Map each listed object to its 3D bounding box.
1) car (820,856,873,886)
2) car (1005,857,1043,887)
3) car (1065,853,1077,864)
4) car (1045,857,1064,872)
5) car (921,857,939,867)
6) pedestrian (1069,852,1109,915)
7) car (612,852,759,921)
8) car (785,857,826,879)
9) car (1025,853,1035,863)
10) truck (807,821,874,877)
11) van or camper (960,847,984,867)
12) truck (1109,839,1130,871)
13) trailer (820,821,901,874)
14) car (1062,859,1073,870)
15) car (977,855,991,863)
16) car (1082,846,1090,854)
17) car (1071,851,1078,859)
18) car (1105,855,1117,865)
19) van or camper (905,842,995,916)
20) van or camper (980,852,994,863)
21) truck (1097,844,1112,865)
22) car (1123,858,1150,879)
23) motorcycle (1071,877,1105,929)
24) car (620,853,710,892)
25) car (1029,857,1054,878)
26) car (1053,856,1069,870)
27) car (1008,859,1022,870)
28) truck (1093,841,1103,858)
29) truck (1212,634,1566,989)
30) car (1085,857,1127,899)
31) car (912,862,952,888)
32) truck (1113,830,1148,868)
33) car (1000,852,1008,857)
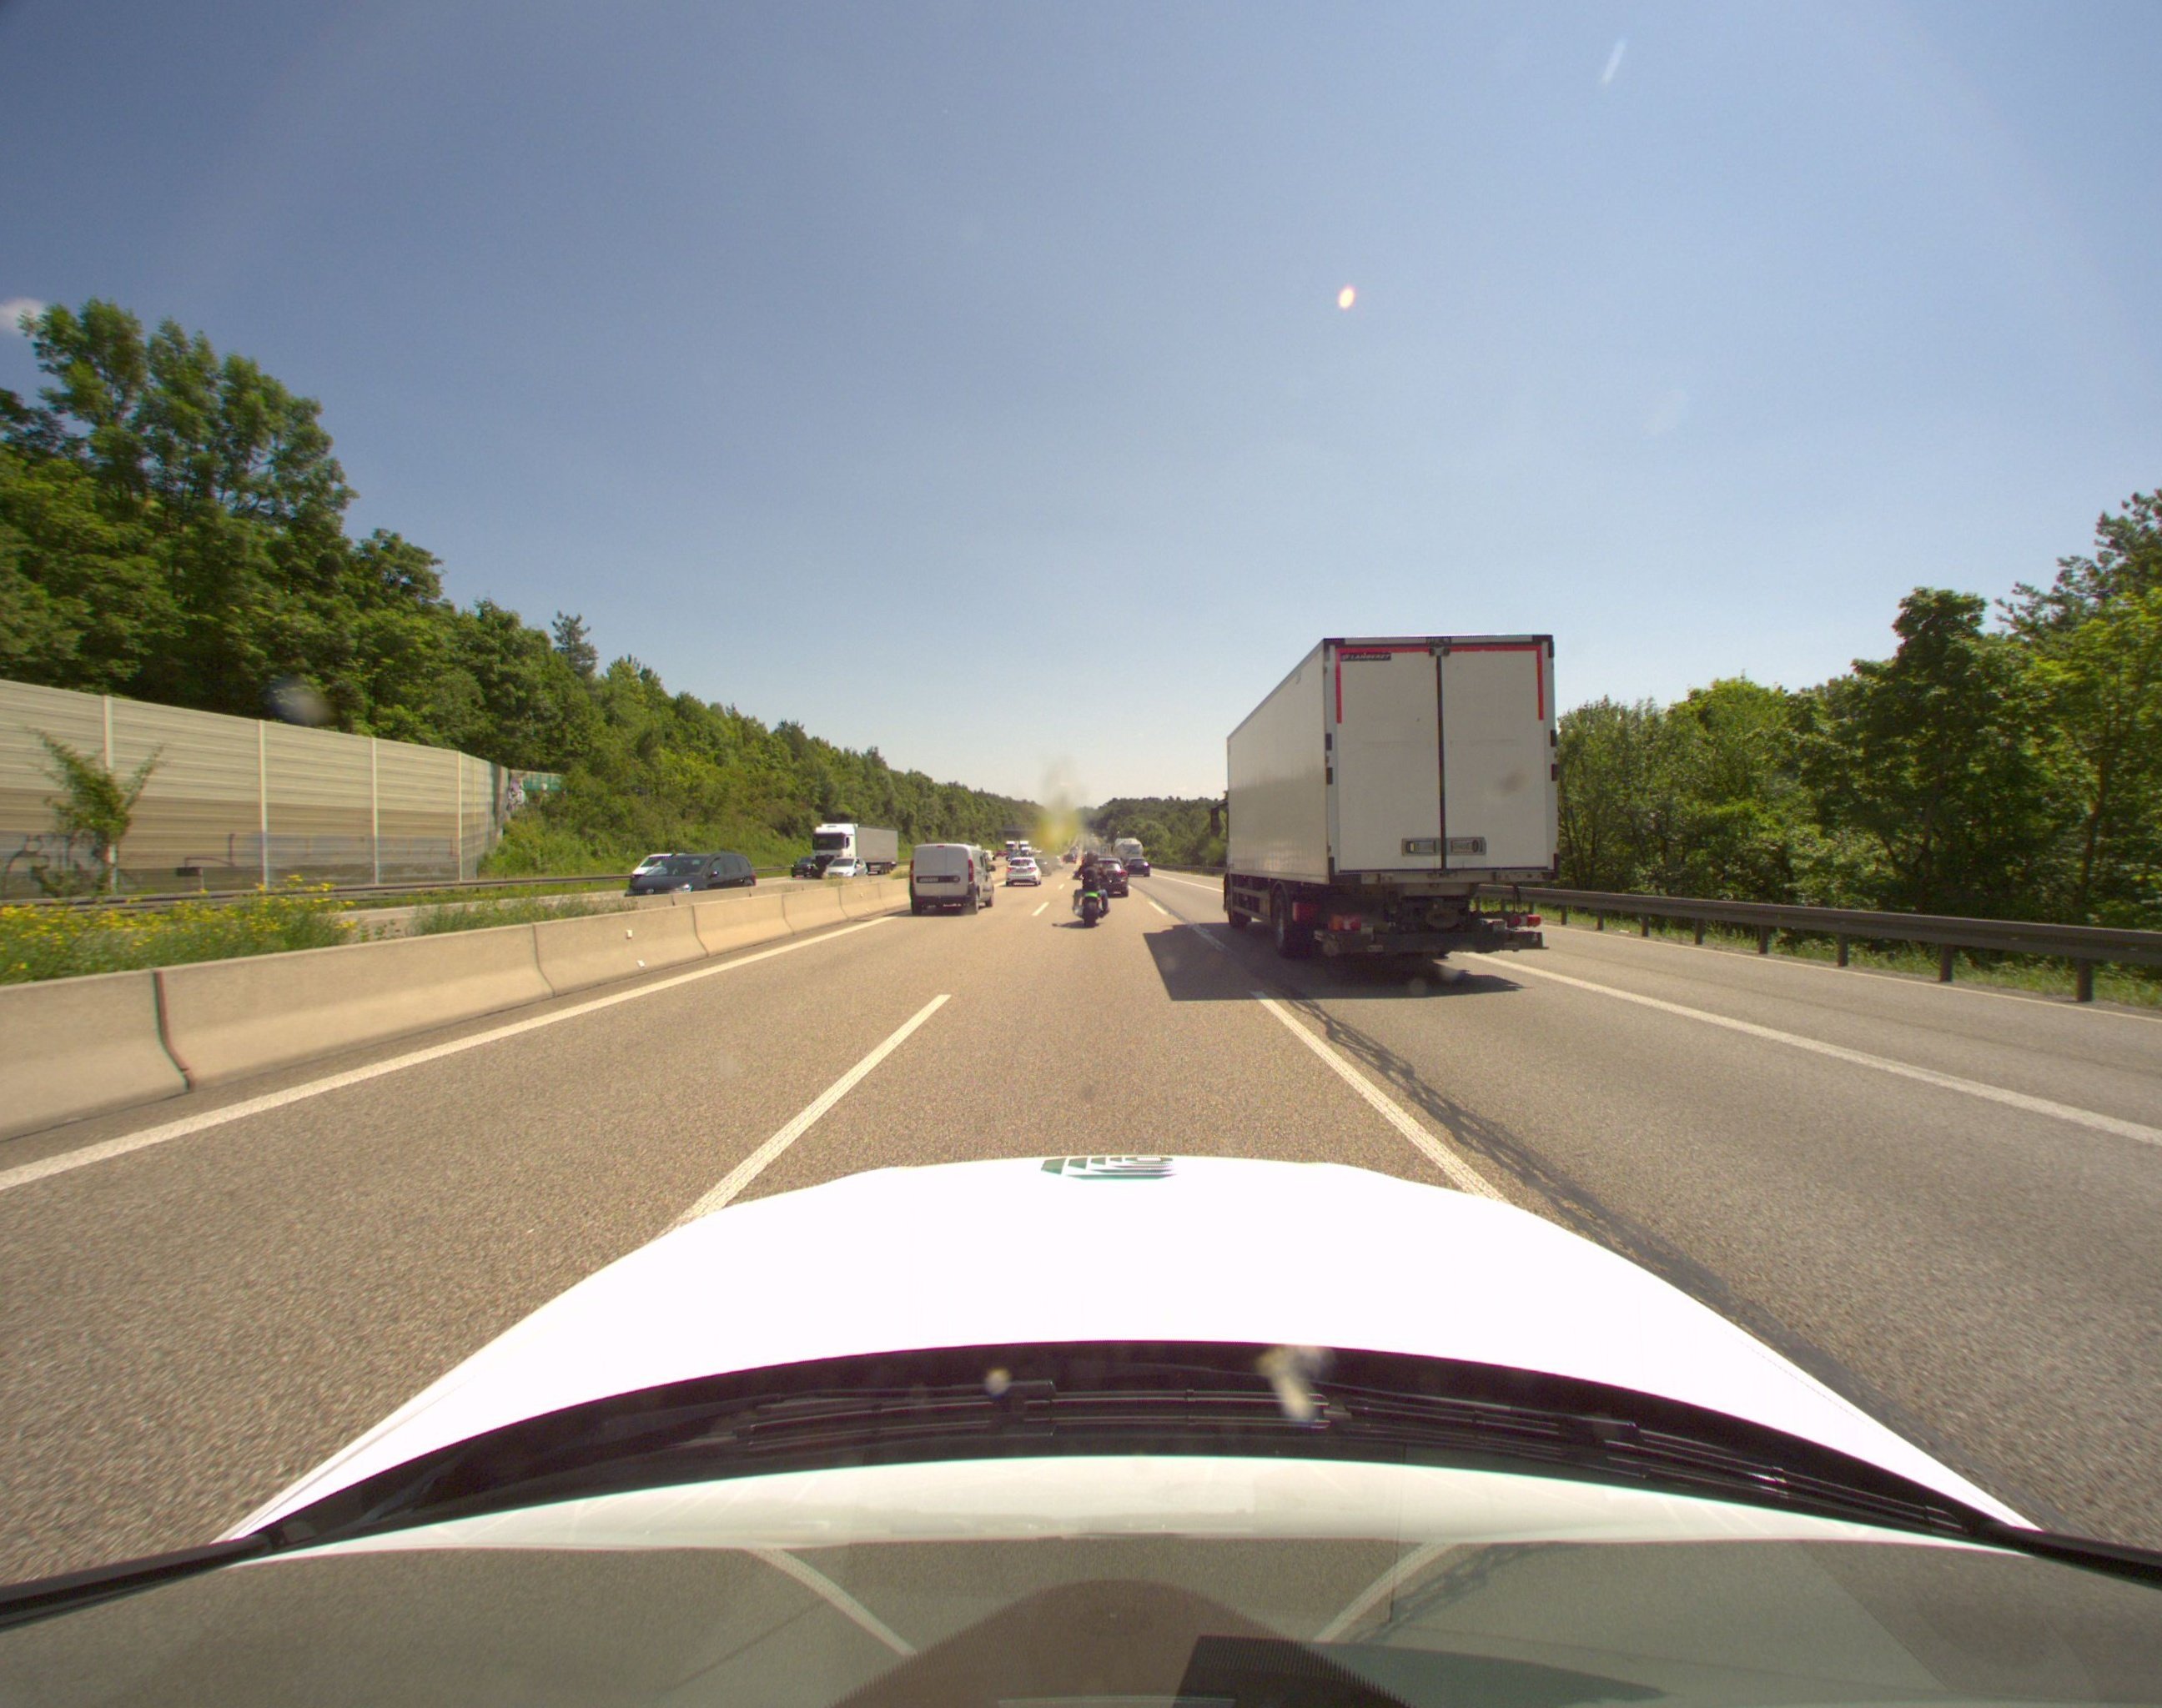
[{"bbox_3d":[-13.602,0.987,47.433,1.821,1.670,4.106,-1,-1,1],"label":"car"},{"bbox_3d":[-2.983,0.912,43.252,1.694,1.478,4.000,1,0,0],"label":"car"},{"bbox_3d":[-1.717,0.728,139.192,1.874,1.859,4.000,2,0,0],"label":"car"},{"bbox_3d":[-2.704,1.087,83.819,1.694,1.478,4.000,1,0,0],"label":"car"},{"bbox_3d":[-21.272,1.094,114.903,1.572,1.462,4.389,0,0,1],"label":"car"},{"bbox_3d":[0.192,0.647,18.099,0.846,1.362,0.962,0,0,1],"label":"pedestrian"},{"bbox_3d":[-10.720,0.822,22.488,1.677,1.698,4.660,0,0,1],"label":"car"},{"bbox_3d":[-21.557,1.078,63.890,1.803,1.641,4.099,0,0,1],"label":"car"},{"bbox_3d":[-10.591,0.786,169.546,1.886,1.948,3.997,0,-1,-1],"label":"car"},{"bbox_3d":[-17.702,-0.284,60.426,2.804,3.908,7.312,0,-1,0],"label":"truck"},{"bbox_3d":[-14.855,0.452,111.484,2.262,2.736,6.804,0,-1,0],"label":"van or camper"},{"bbox_3d":[4.333,0.148,92.847,1.988,3.522,4.747,0,-1,-2],"label":"truck"},{"bbox_3d":[-17.734,-0.369,66.723,2.804,3.908,13.823,0,-1,0],"label":"trailer"},{"bbox_3d":[-2.522,2.038,154.945,1.987,2.014,4.000,-1,-1,1],"label":"car"},{"bbox_3d":[-16.761,0.905,140.779,1.795,1.347,4.723,0,0,1],"label":"car"},{"bbox_3d":[1.675,-1.208,260.161,2.496,2.587,5.016,1,0,0],"label":"car"},{"bbox_3d":[-1.727,0.230,225.497,1.923,2.014,4.000,-1,-1,1],"label":"car"},{"bbox_3d":[4.669,0.923,127.510,1.781,1.555,3.803,1,0,0],"label":"car"},{"bbox_3d":[-3.591,0.677,23.074,1.790,1.892,4.160,-1,-1,1],"label":"van or camper"},{"bbox_3d":[-16.777,0.601,145.912,2.069,1.977,3.705,0,0,1],"label":"van or camper"},{"bbox_3d":[5.269,0.064,186.166,3.023,4.542,9.982,3,0,0],"label":"truck"},{"bbox_3d":[4.299,1.091,63.537,1.823,1.470,4.000,2,0,0],"label":"car"},{"bbox_3d":[0.174,1.052,18.077,0.689,1.015,2.122,0,0,1],"label":"motorcycle"},{"bbox_3d":[-21.481,0.956,42.347,1.915,1.867,5.302,0,-1,0],"label":"car"},{"bbox_3d":[-3.065,1.032,63.627,1.694,1.478,4.000,1,0,0],"label":"car"},{"bbox_3d":[-2.320,1.003,94.745,1.694,1.478,4.000,1,0,0],"label":"car"},{"bbox_3d":[-10.042,1.580,123.842,1.705,1.538,4.128,0,0,0],"label":"car"},{"bbox_3d":[5.307,-1.442,257.481,3.023,5.139,9.982,3,0,0],"label":"truck"},{"bbox_3d":[4.180,-0.438,13.906,2.677,3.876,9.786,-1,0,2],"label":"truck"},{"bbox_3d":[1.010,0.888,31.830,1.526,1.510,4.003,0,0,3],"label":"car"},{"bbox_3d":[-10.133,1.412,55.777,1.803,1.641,4.603,0,0,1],"label":"car"},{"bbox_3d":[4.990,-0.438,83.753,2.978,3.671,9.286,0,-1,0],"label":"truck"},{"bbox_3d":[-21.536,0.198,228.357,1.756,1.370,4.501,0,0,0],"label":"car"}]
